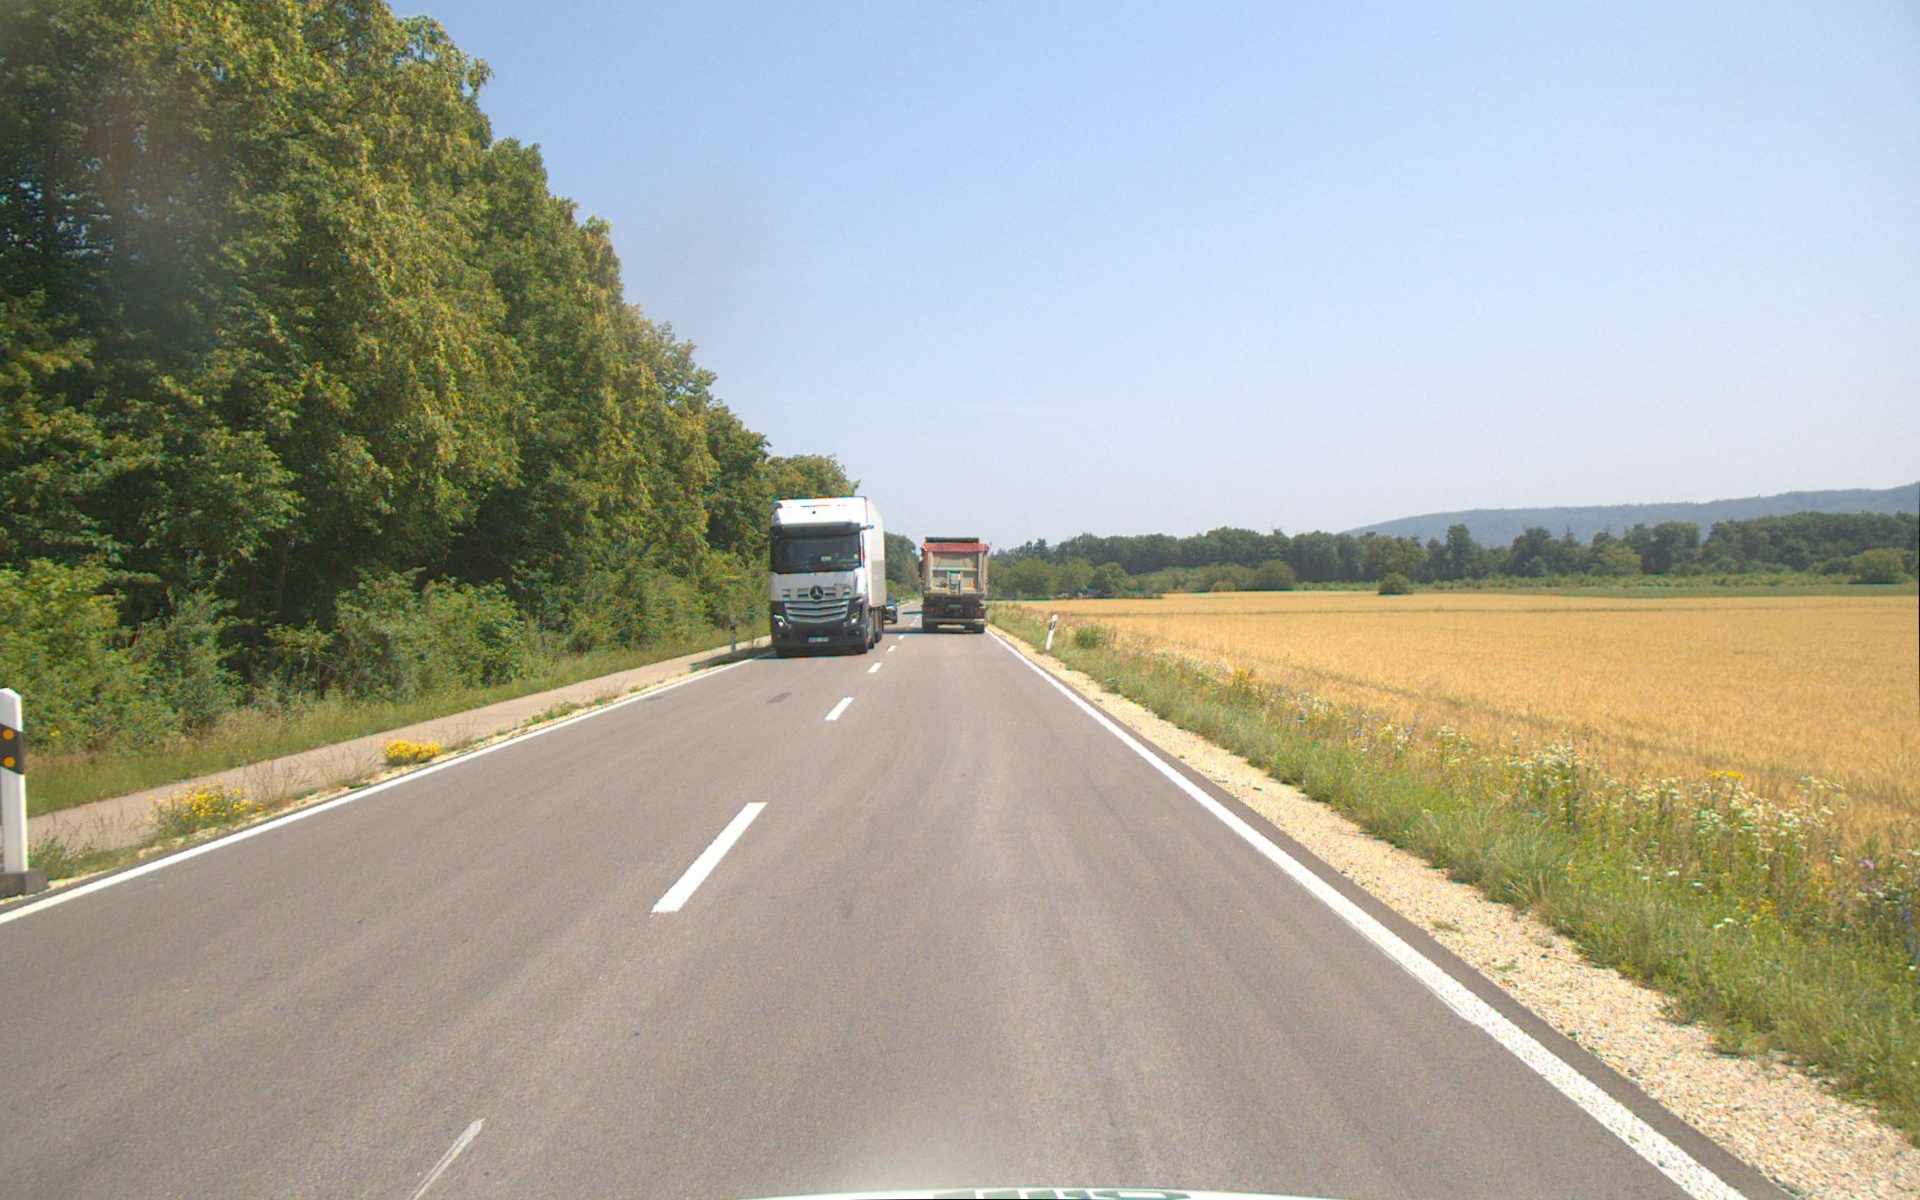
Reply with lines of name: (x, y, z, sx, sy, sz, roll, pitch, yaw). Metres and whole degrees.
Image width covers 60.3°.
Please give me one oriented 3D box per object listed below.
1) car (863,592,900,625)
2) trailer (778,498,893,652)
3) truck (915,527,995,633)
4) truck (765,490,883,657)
car: (-4.023, 0.409, 85.271, 1.756, 1.601, 4.478, -2, 0, -1)
trailer: (-3.599, -0.693, 50.999, 2.599, 4.046, 13.351, -2, 0, -1)
truck: (-0.274, -0.717, 68.748, 2.948, 3.942, 12.206, 1, 0, -1)
truck: (-3.497, -0.664, 43.748, 2.602, 4.046, 5.726, -2, 0, -1)
